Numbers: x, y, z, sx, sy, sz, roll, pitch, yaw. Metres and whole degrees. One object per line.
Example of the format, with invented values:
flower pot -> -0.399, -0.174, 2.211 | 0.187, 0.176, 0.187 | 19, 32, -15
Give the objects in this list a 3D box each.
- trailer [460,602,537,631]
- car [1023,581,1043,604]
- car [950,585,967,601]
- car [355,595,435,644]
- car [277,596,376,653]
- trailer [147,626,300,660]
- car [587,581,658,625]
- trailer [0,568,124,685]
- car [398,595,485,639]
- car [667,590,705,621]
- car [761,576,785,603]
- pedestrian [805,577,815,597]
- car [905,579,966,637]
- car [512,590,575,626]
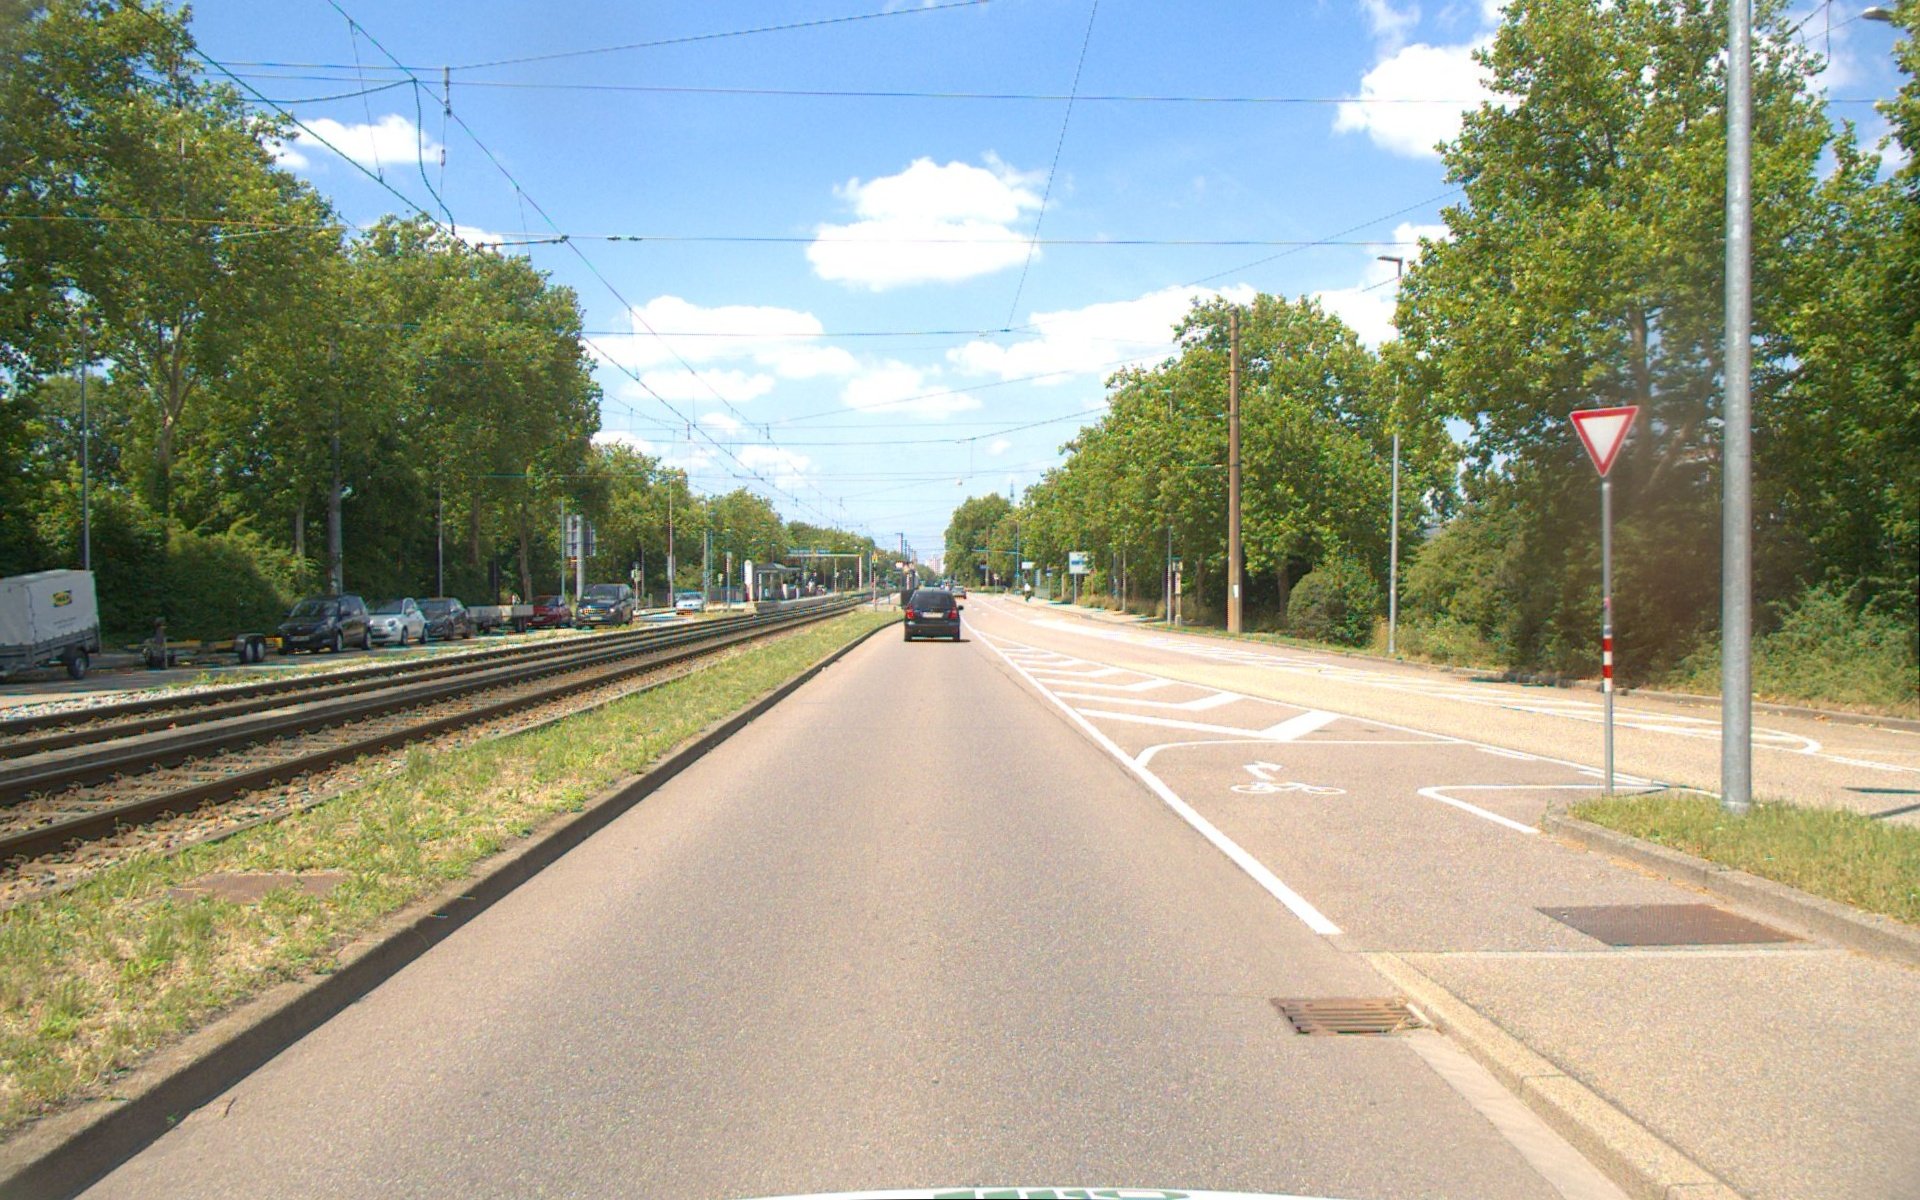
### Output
trailer -> -18.648, 0.648, 67.081 | 1.855, 1.062, 5.101 | 1, 1, -2
car -> 7.060, -0.749, 160.216 | 1.580, 2.048, 3.439 | 1, 2, -2
car -> -0.116, -0.808, 190.414 | 1.846, 1.668, 4.000 | 3, 1, 0
car -> -17.840, 0.587, 52.360 | 1.405, 1.476, 3.739 | 0, 0, -3
car -> -17.637, 0.652, 46.225 | 1.405, 1.476, 3.919 | 0, 0, -3
trailer -> -17.620, 1.014, 39.775 | 1.953, 0.755, 3.999 | 0, -1, -1
car -> -14.461, 0.094, 71.102 | 2.074, 1.821, 5.404 | 0, 0, -2
trailer -> -17.478, 0.429, 31.242 | 1.578, 2.049, 3.913 | 1, 1, -4
car -> -18.046, 0.564, 57.767 | 1.833, 1.425, 4.416 | 0, 0, -3
car -> -18.402, 0.371, 111.101 | 1.953, 2.049, 3.999 | 0, 0, -1
car -> -14.881, -0.830, 131.517 | 1.553, 2.048, 4.109 | 1, 2, -2
pedestrian -> -15.508, -1.360, 170.525 | 0.933, 2.048, 0.892 | 1, 1, -1
car -> -0.744, 0.225, 51.888 | 1.815, 1.597, 4.389 | 1, 2, 0
car -> -19.162, 0.337, 76.250 | 1.953, 1.601, 3.999 | 0, 0, -2
